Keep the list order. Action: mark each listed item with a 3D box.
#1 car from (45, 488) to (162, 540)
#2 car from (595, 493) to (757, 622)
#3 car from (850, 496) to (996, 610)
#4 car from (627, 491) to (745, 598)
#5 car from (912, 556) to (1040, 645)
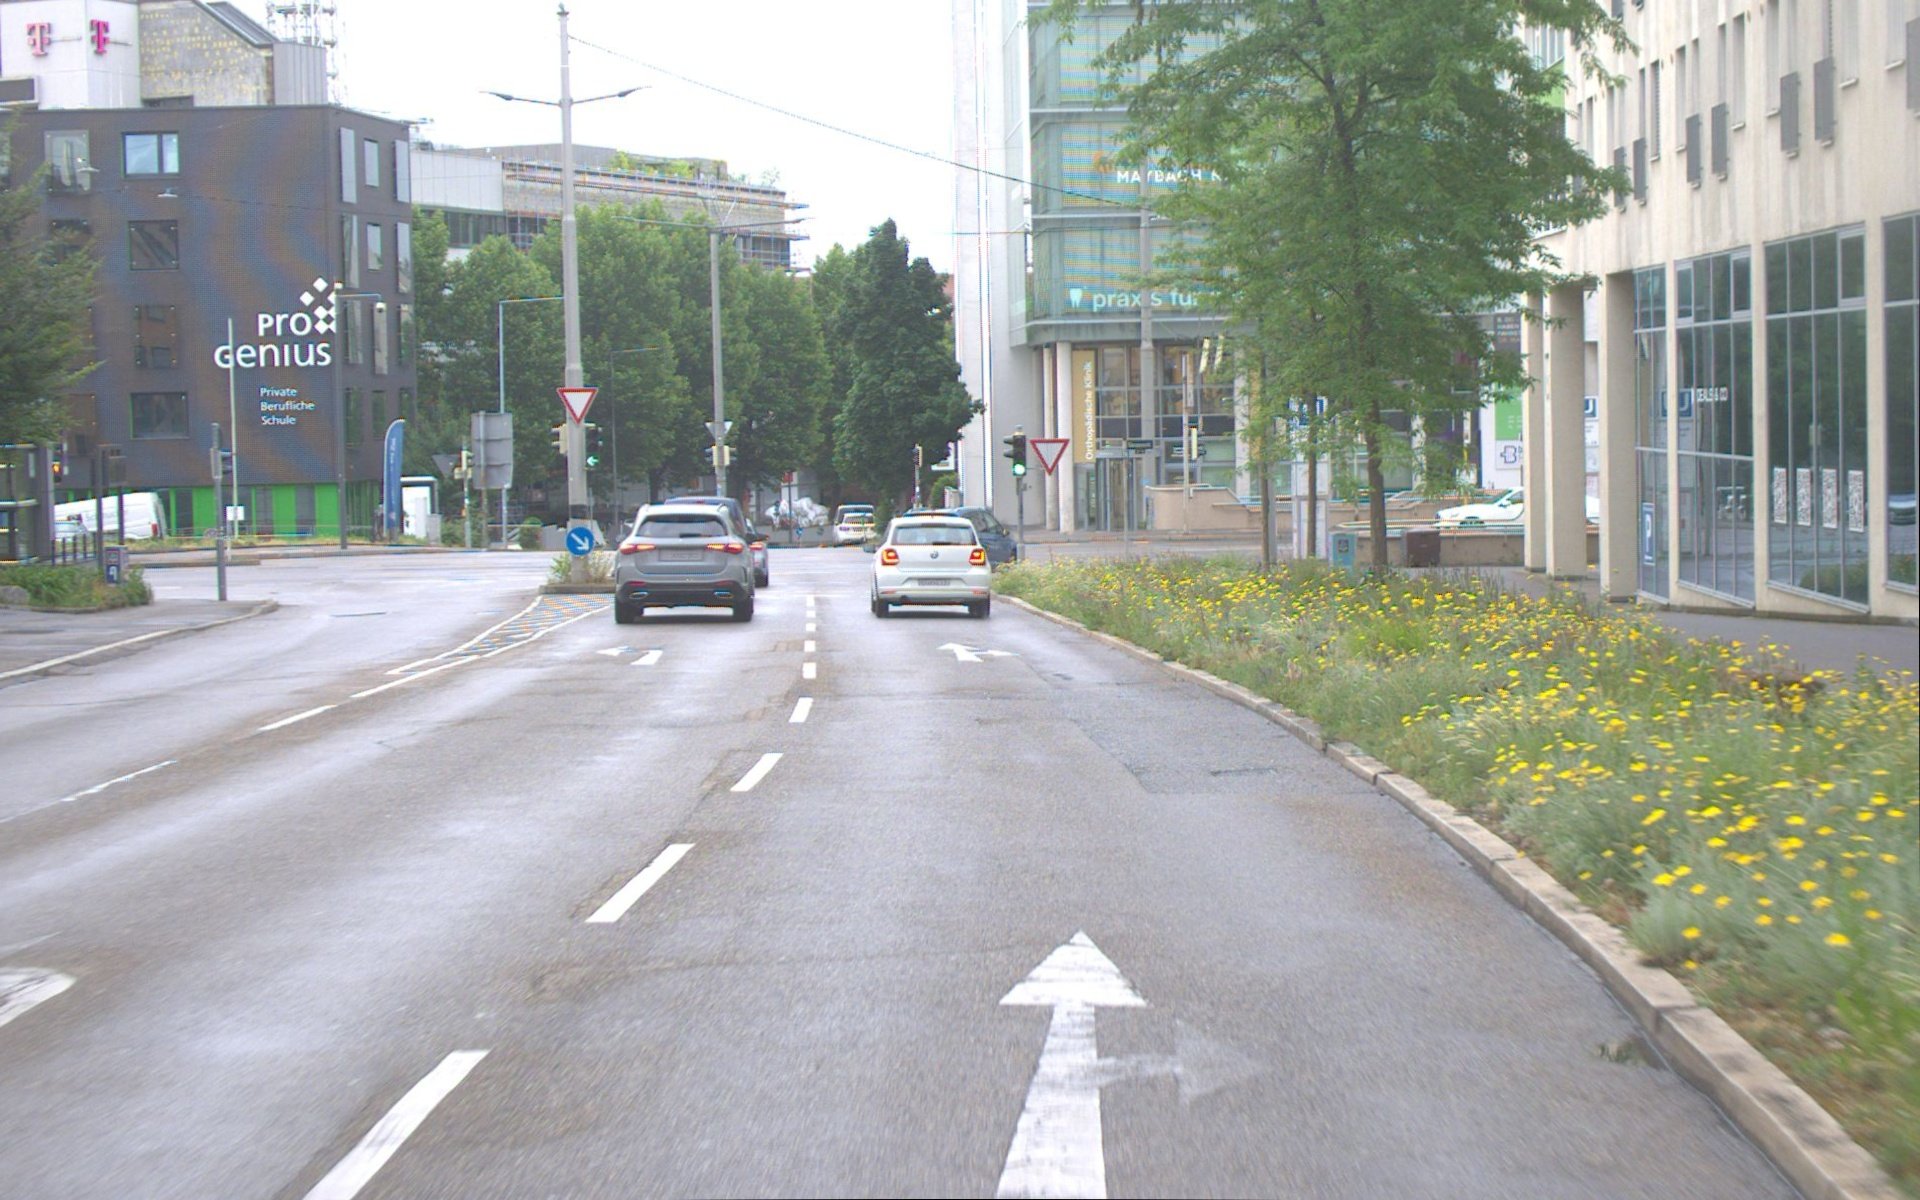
[{"bbox_3d":[-33.847,-3.390,135.937,3.988,2.007,1.999,0,1,10],"label":"car"},{"bbox_3d":[-3.953,-0.610,48.453,2.141,1.722,4.001,-1,1,-3],"label":"car"},{"bbox_3d":[-0.499,-0.721,50.442,1.993,1.571,3.996,-1,2,1],"label":"car"},{"bbox_3d":[-4.880,-0.987,61.076,1.993,1.812,4.001,-1,1,-5],"label":"car"},{"bbox_3d":[0.249,-0.017,61.191,1.993,1.503,4.001,-1,1,-4],"label":"car"}]
